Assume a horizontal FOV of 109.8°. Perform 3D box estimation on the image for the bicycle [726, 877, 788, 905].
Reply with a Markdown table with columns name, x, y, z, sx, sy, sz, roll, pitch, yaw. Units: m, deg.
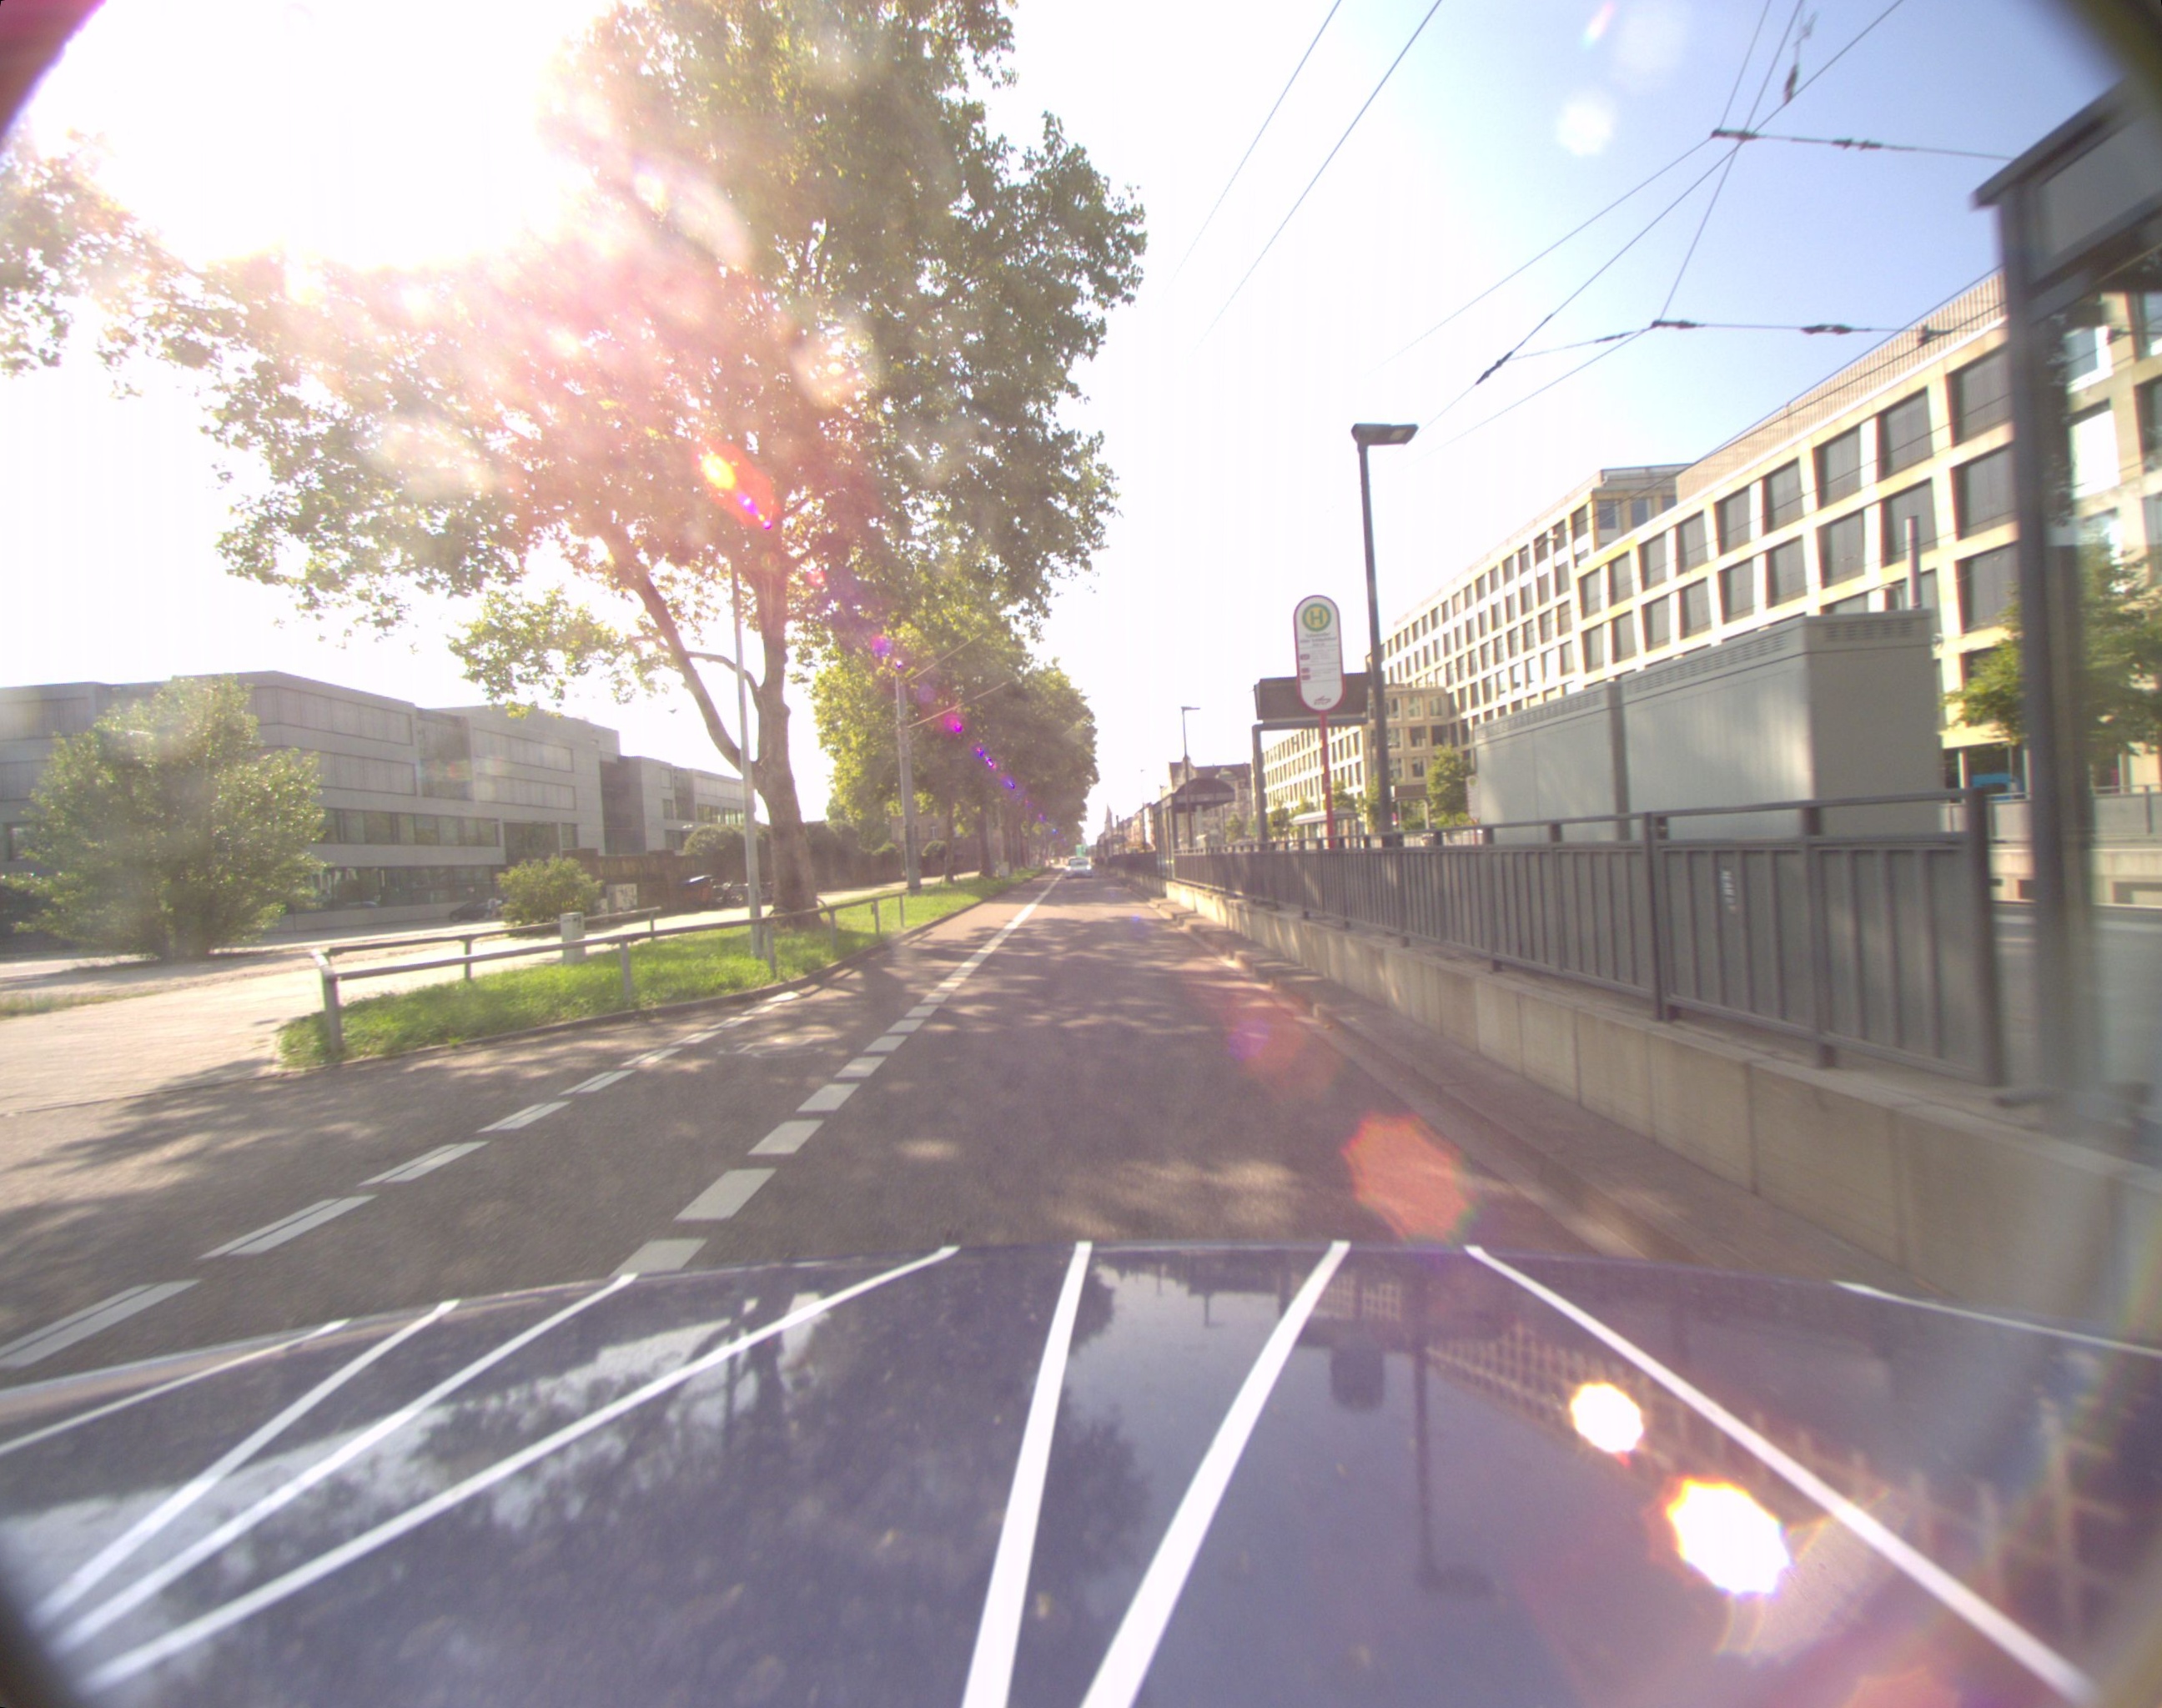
| name | x | y | z | sx | sy | sz | roll | pitch | yaw |
| --- | --- | --- | --- | --- | --- | --- | --- | --- | --- |
| bicycle | -13.318 | 1.507 | 31.263 | 2.178 | 1.070 | 0.743 | -1 | 1 | 3 |

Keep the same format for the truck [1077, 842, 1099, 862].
| name | x | y | z | sx | sy | sz | roll | pitch | yaw |
| --- | --- | --- | --- | --- | --- | --- | --- | --- | --- |
| truck | 1.359 | -0.386 | 159.191 | 2.817 | 3.766 | 9.008 | -3 | 0 | -10 |

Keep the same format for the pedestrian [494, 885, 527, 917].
| name | x | y | z | sx | sy | sz | roll | pitch | yaw |
| --- | --- | --- | --- | --- | --- | --- | --- | --- | --- |
| pedestrian | -38.614 | 3.167 | 51.441 | 1.080 | 2.002 | 1.388 | -3 | 0 | -1 |

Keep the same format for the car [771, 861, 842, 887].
| name | x | y | z | sx | sy | sz | roll | pitch | yaw |
| --- | --- | --- | --- | --- | --- | --- | --- | --- | --- |
| car | -20.701 | 1.479 | 57.429 | 4.534 | 1.723 | 1.909 | -3 | 0 | -2 |

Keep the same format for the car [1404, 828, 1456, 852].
| name | x | y | z | sx | sy | sz | roll | pitch | yaw |
| --- | --- | --- | --- | --- | --- | --- | --- | --- | --- |
| car | 25.419 | -0.993 | 55.450 | 1.768 | 1.565 | 4.131 | -3 | 0 | -2 |

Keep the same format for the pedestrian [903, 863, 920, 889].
| name | x | y | z | sx | sy | sz | roll | pitch | yaw |
| --- | --- | --- | --- | --- | --- | --- | --- | --- | --- |
| pedestrian | -10.147 | 1.306 | 45.568 | 0.786 | 1.506 | 0.787 | -3 | 0 | 0 |

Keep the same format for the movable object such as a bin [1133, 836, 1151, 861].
| name | x | y | z | sx | sy | sz | roll | pitch | yaw |
| --- | --- | --- | --- | --- | --- | --- | --- | --- | --- |
| movable object such as a bin | 11.579 | -1.051 | 143.961 | 2.994 | 4.527 | 4.212 | -3 | 0 | 2 |

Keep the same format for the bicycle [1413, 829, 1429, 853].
| name | x | y | z | sx | sy | sz | roll | pitch | yaw |
| --- | --- | --- | --- | --- | --- | --- | --- | --- | --- |
| bicycle | 17.247 | -0.670 | 38.554 | 0.472 | 1.141 | 1.485 | -4 | 1 | 15 |

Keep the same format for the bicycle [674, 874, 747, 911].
| name | x | y | z | sx | sy | sz | roll | pitch | yaw |
| --- | --- | --- | --- | --- | --- | --- | --- | --- | --- |
| bicycle | -14.101 | 1.456 | 28.947 | 2.250 | 1.270 | 0.998 | -1 | 1 | -1 |

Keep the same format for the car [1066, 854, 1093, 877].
| name | x | y | z | sx | sy | sz | roll | pitch | yaw |
| --- | --- | --- | --- | --- | --- | --- | --- | --- | --- |
| car | -0.080 | 0.783 | 54.376 | 1.844 | 1.451 | 4.000 | -2 | 0 | 0 |

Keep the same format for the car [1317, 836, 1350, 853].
| name | x | y | z | sx | sy | sz | roll | pitch | yaw |
| --- | --- | --- | --- | --- | --- | --- | --- | --- | --- |
| car | 25.084 | -0.935 | 75.574 | 1.768 | 1.525 | 4.131 | -3 | 0 | -2 |

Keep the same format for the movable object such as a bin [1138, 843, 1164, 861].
| name | x | y | z | sx | sy | sz | roll | pitch | yaw |
| --- | --- | --- | --- | --- | --- | --- | --- | --- | --- |
| movable object such as a bin | 13.972 | -0.408 | 152.351 | 4.127 | 3.204 | 3.564 | -3 | 0 | -16 |

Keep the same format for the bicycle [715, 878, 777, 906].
| name | x | y | z | sx | sy | sz | roll | pitch | yaw |
| --- | --- | --- | --- | --- | --- | --- | --- | --- | --- |
| bicycle | -13.409 | 1.524 | 30.447 | 2.178 | 1.070 | 0.743 | -1 | 1 | 3 |

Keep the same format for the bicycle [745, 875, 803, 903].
| name | x | y | z | sx | sy | sz | roll | pitch | yaw |
| --- | --- | --- | --- | --- | --- | --- | --- | --- | --- |
| bicycle | -13.518 | 1.547 | 33.474 | 2.179 | 1.070 | 0.743 | -3 | 1 | -2 |

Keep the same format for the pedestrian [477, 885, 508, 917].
| name | x | y | z | sx | sy | sz | roll | pitch | yaw |
| --- | --- | --- | --- | --- | --- | --- | --- | --- | --- |
| pedestrian | -39.700 | 3.173 | 51.269 | 0.941 | 2.002 | 1.357 | -3 | 1 | -1 |

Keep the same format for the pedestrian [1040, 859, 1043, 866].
| name | x | y | z | sx | sy | sz | roll | pitch | yaw |
| --- | --- | --- | --- | --- | --- | --- | --- | --- | --- |
| pedestrian | -6.788 | 1.397 | 130.689 | 0.610 | 1.211 | 0.574 | -2 | 0 | -3 |
